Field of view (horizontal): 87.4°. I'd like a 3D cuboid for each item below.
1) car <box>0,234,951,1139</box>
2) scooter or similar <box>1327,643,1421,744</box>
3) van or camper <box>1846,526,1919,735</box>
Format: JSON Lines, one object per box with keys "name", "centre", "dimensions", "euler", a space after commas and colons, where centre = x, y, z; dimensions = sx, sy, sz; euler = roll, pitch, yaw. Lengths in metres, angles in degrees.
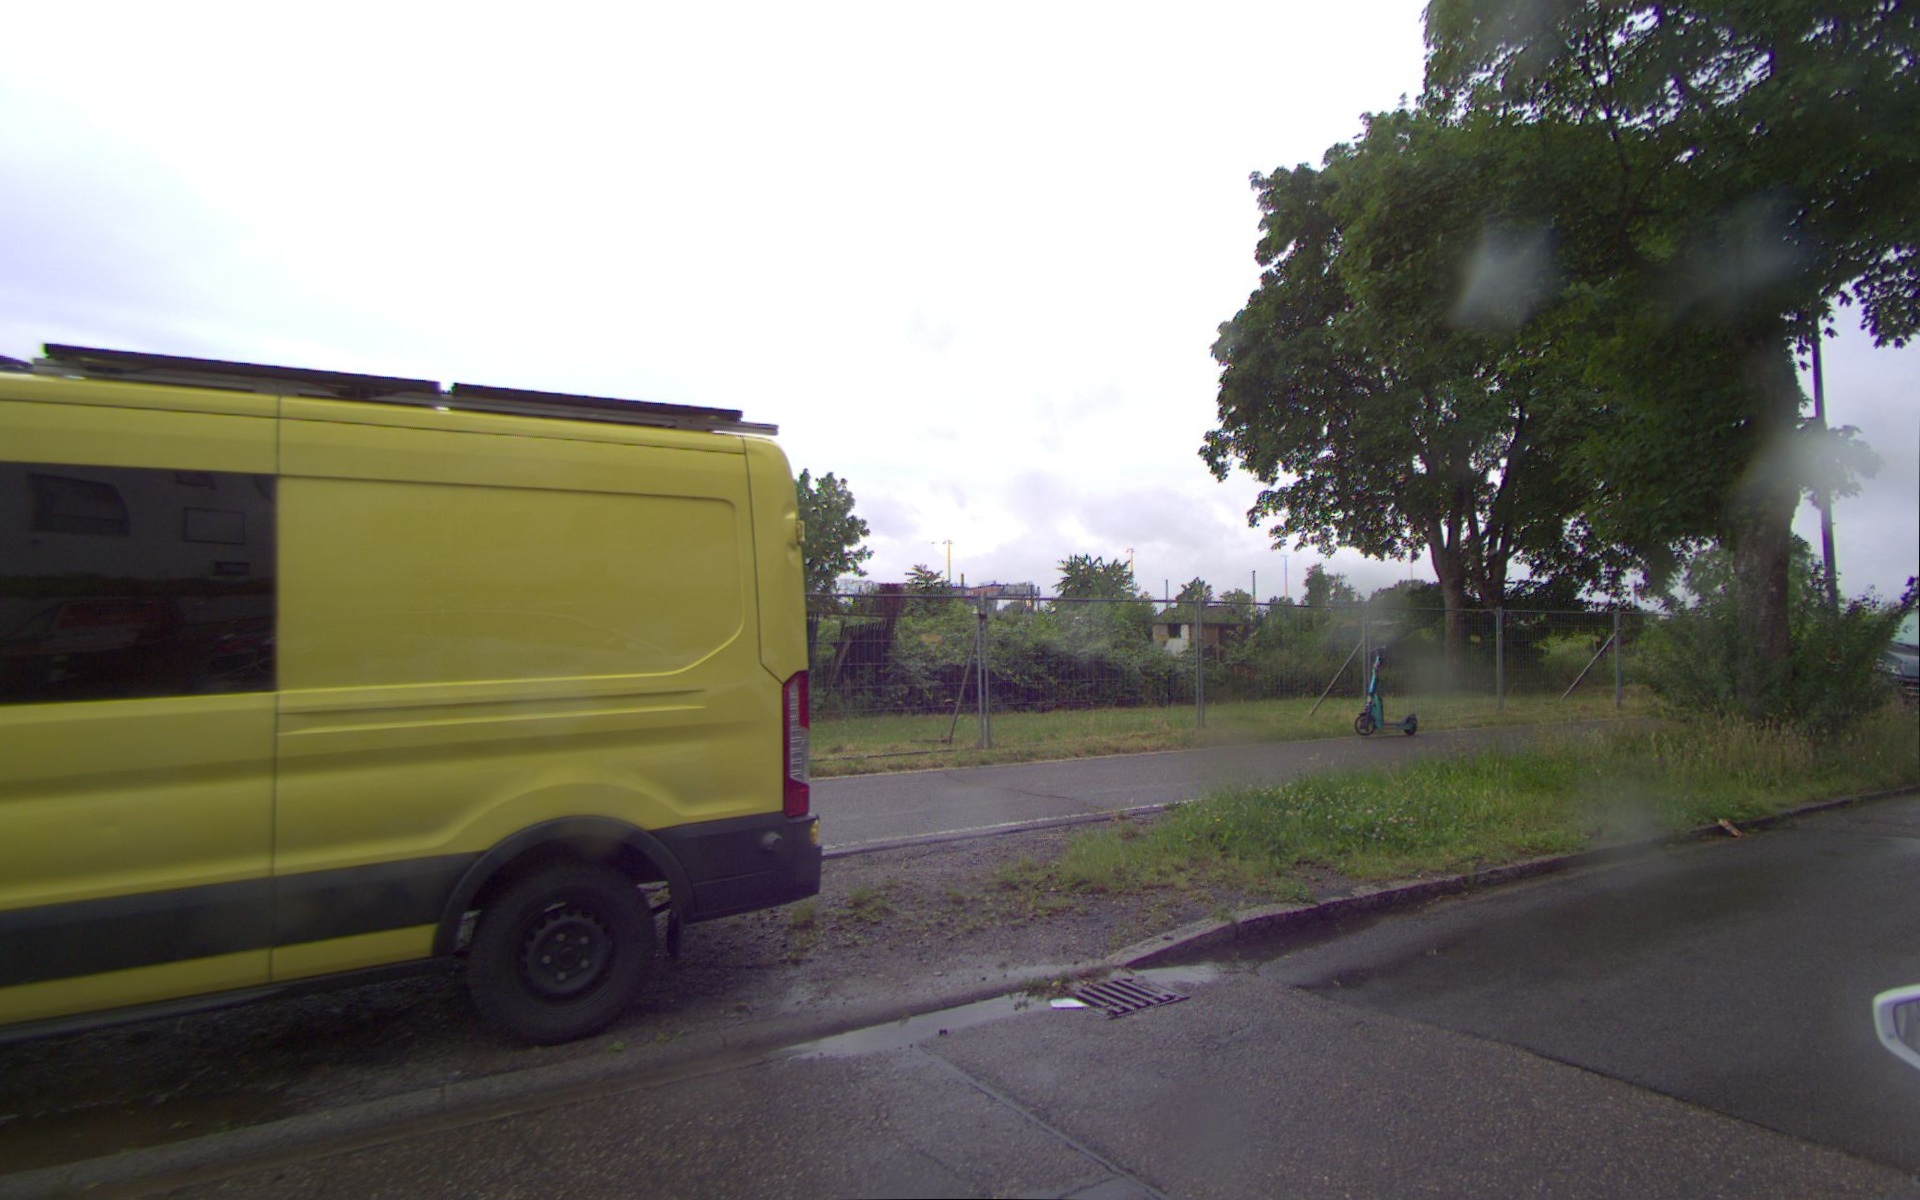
{"name": "car", "centre": [-3.199, 0.269, 4.113], "dimensions": [6.007, 2.730, 2.182], "euler": [1, 0, -29]}
{"name": "scooter or similar", "centre": [5.794, 1.281, 14.052], "dimensions": [1.394, 1.357, 0.433], "euler": [1, -3, -30]}
{"name": "van or camper", "centre": [17.174, 0.545, 16.565], "dimensions": [6.352, 3.135, 2.083], "euler": [2, -1, -32]}
